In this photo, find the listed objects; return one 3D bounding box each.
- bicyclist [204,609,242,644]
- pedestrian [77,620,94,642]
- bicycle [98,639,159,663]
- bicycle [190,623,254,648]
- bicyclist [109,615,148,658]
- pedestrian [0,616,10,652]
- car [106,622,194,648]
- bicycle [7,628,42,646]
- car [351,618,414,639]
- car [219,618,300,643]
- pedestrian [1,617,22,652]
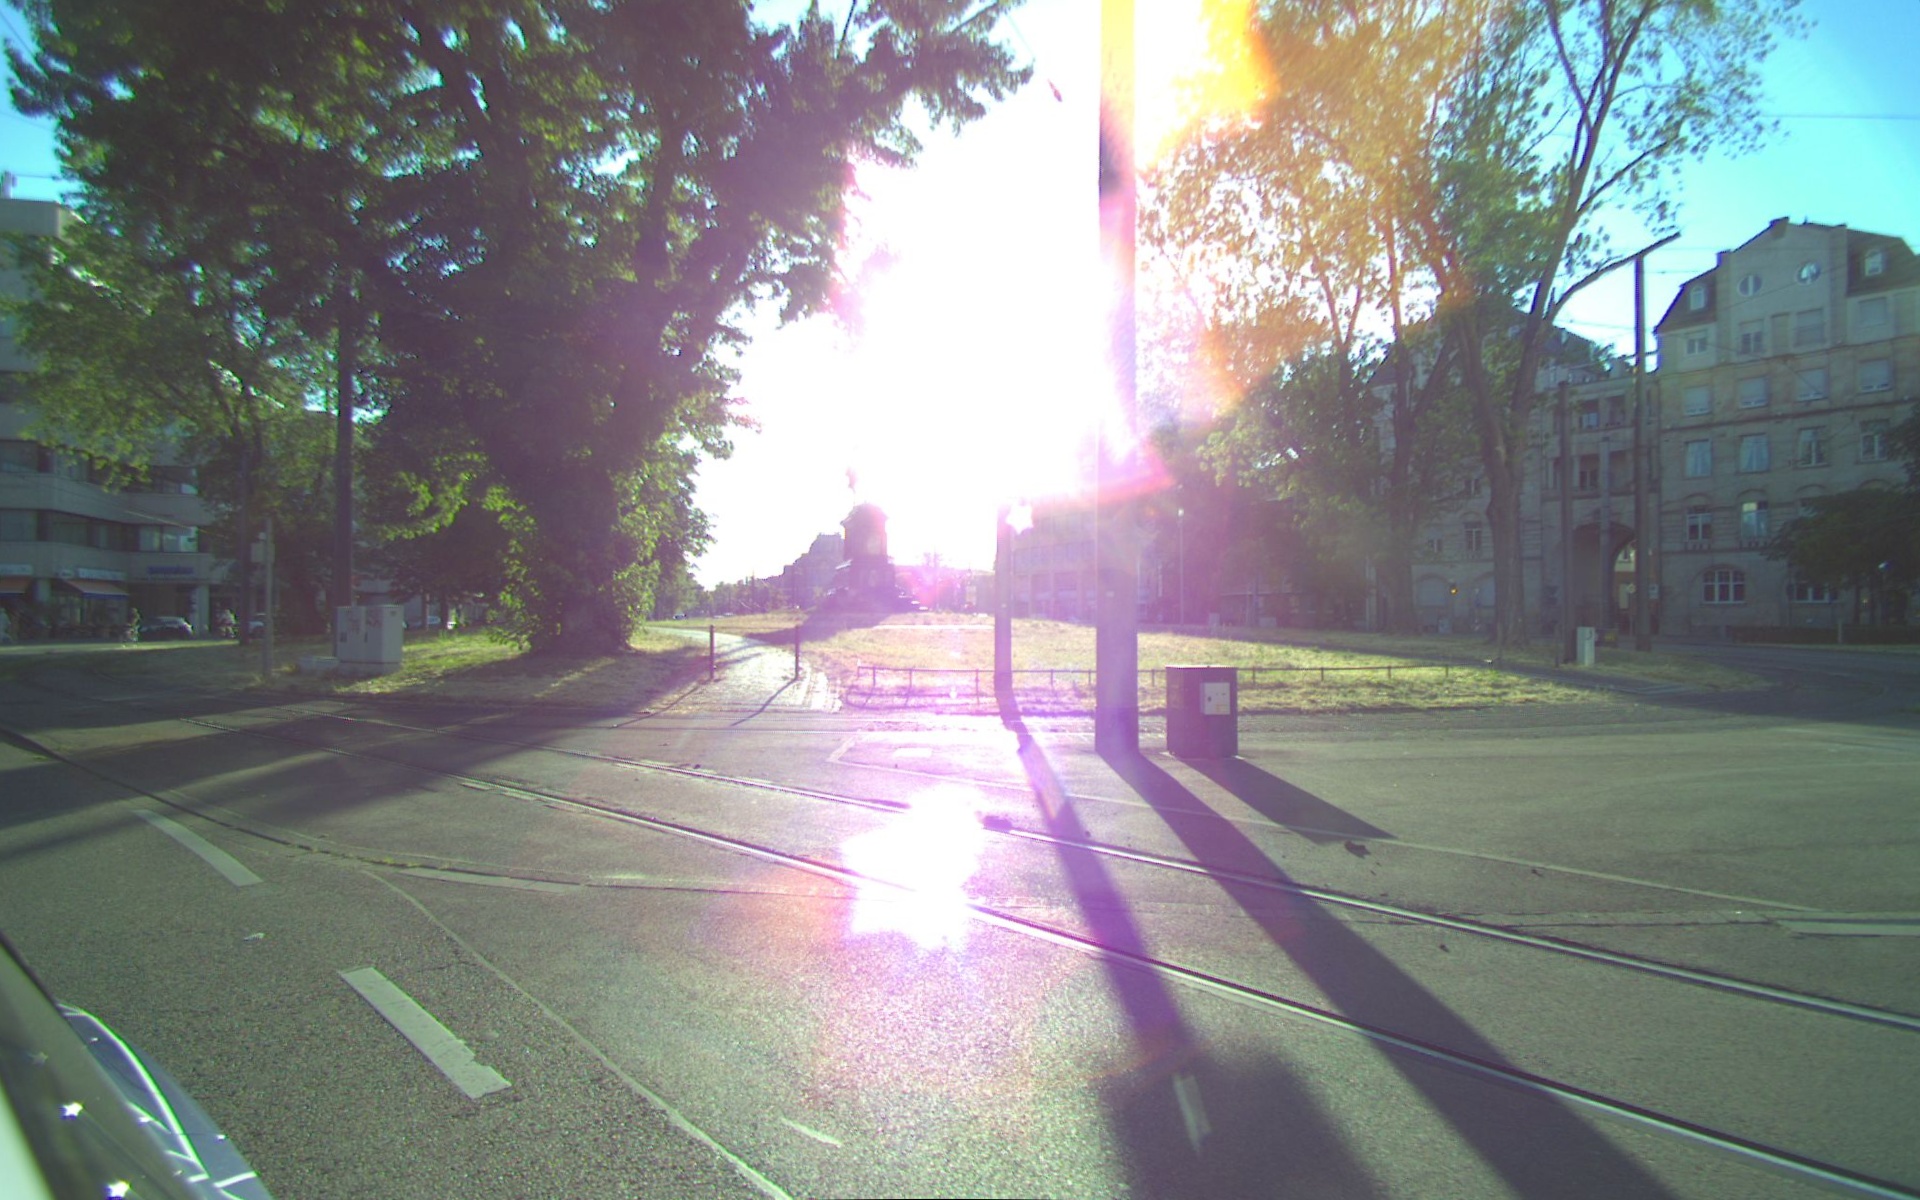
[{"bbox_3d":[-43.034,1.526,59.091,1.221,2.007,1.365,0,-1,5],"label":"bicyclist"},{"bbox_3d":[-54.324,1.918,62.867,0.601,1.331,0.593,1,-1,-25],"label":"pedestrian"},{"bbox_3d":[-39.770,2.430,48.429,0.926,1.084,2.214,-1,-1,10],"label":"bicycle"},{"bbox_3d":[-43.033,2.046,59.093,1.256,1.371,3.236,0,-1,5],"label":"bicycle"},{"bbox_3d":[-39.788,1.727,48.418,0.915,1.989,1.110,-1,-1,11],"label":"bicyclist"},{"bbox_3d":[-51.692,1.819,54.485,0.574,1.852,0.595,2,-3,43],"label":"pedestrian"},{"bbox_3d":[-48.899,2.117,61.199,1.775,1.453,3.988,-1,-1,9],"label":"car"},{"bbox_3d":[-52.992,2.108,57.356,1.424,1.000,0.532,3,-1,-43],"label":"bicycle"},{"bbox_3d":[-46.277,2.260,81.207,1.978,1.617,4.508,-1,-1,10],"label":"car"},{"bbox_3d":[-47.845,2.066,69.244,1.978,1.617,4.508,-1,-1,10],"label":"car"},{"bbox_3d":[-50.911,1.852,54.318,0.530,1.852,0.496,3,-3,21],"label":"pedestrian"}]
